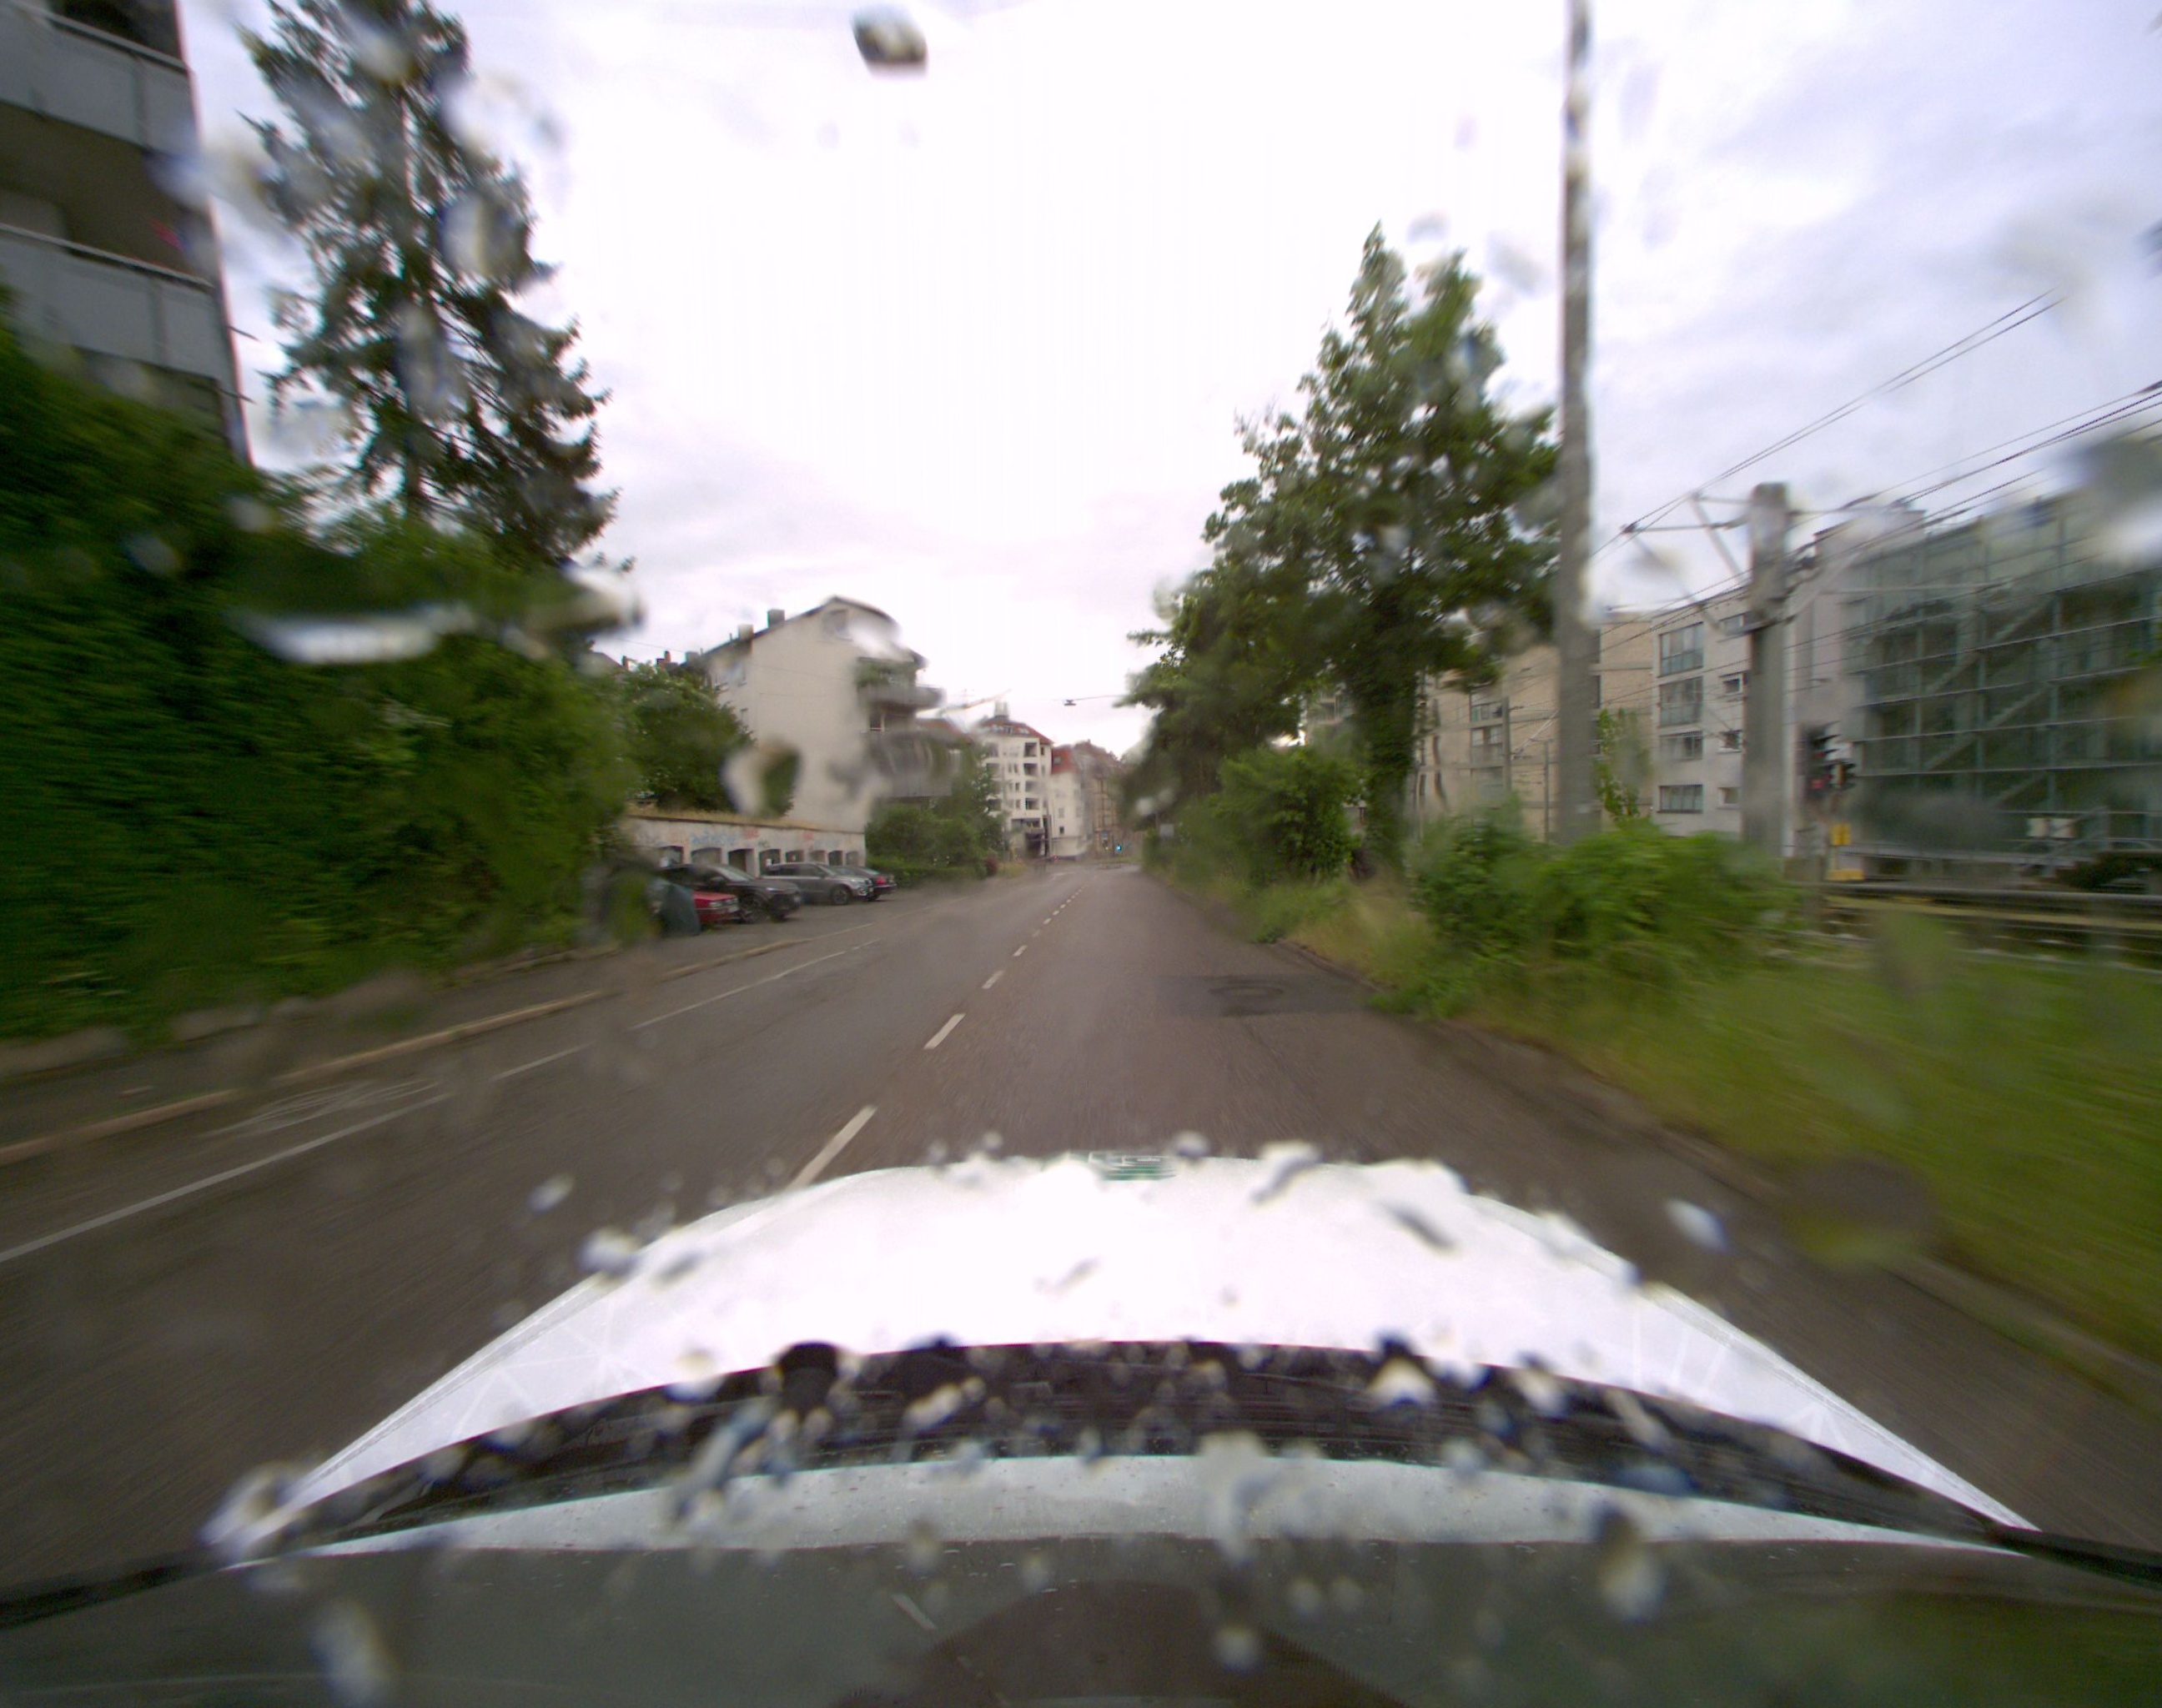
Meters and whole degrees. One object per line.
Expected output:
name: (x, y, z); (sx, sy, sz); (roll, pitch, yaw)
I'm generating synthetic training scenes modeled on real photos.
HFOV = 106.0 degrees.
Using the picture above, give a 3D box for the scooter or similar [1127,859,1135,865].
scooter or similar: (6.429, 1.006, 105.518); (0.480, 0.761, 1.338); (-3, 0, 30)

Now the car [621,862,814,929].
car: (-9.886, 1.098, 22.403); (4.433, 1.602, 1.814); (-2, 0, 1)

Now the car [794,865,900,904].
car: (-9.277, 1.197, 32.460); (3.616, 1.407, 1.785); (-2, -1, 3)

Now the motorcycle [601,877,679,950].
motorcycle: (-8.817, 1.145, 16.380); (0.616, 1.320, 2.313); (-2, -1, -9)

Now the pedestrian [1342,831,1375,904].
pedestrian: (6.587, 0.312, 19.356); (0.561, 1.687, 0.525); (-2, 0, 1)

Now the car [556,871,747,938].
car: (-10.205, 1.177, 19.586); (3.625, 1.405, 1.714); (-2, -1, -5)

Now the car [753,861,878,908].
car: (-9.727, 1.104, 30.057); (3.977, 1.559, 1.878); (-2, -1, -3)
